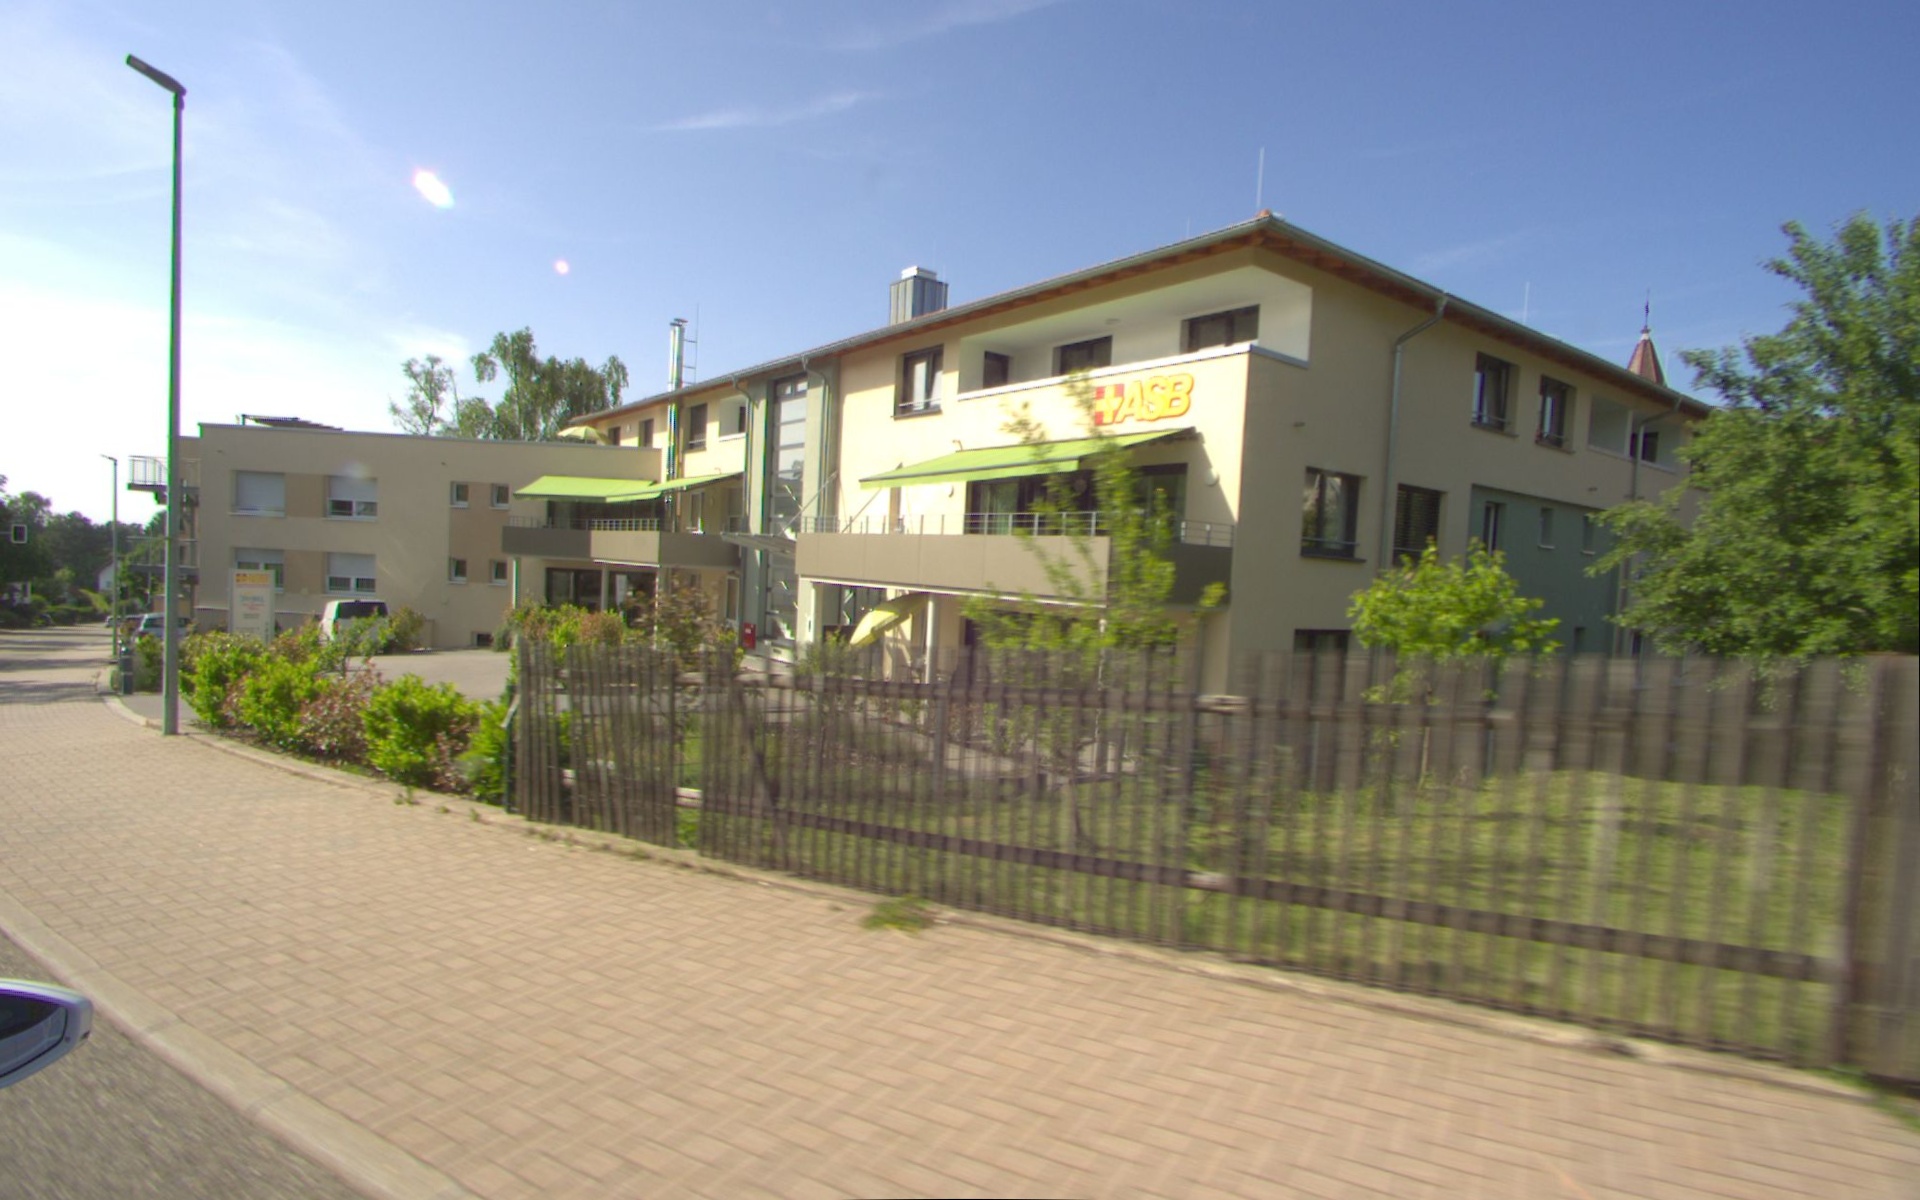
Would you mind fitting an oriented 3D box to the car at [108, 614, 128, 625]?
[{"bbox_3d":[-109.590,2.549,130.394,1.693,1.446,3.978,1,-1,-36],"label":"car"}]

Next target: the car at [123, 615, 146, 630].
[{"bbox_3d":[-82.444,2.281,99.952,1.695,1.446,3.973,1,-1,-40],"label":"car"}]

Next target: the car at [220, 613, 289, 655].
[{"bbox_3d":[-25.691,1.208,36.424,1.695,1.446,3.973,1,-1,-40],"label":"car"}]

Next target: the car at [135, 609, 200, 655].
[{"bbox_3d":[-28.234,1.104,35.628,1.695,1.555,3.973,1,-1,-40],"label":"car"}]

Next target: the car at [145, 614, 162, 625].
[{"bbox_3d":[-107.662,2.588,133.711,1.695,1.446,3.973,1,-1,-40],"label":"car"}]

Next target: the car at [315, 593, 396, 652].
[{"bbox_3d":[-21.551,0.774,35.614,1.789,1.960,4.694,1,-1,-40],"label":"car"}]
